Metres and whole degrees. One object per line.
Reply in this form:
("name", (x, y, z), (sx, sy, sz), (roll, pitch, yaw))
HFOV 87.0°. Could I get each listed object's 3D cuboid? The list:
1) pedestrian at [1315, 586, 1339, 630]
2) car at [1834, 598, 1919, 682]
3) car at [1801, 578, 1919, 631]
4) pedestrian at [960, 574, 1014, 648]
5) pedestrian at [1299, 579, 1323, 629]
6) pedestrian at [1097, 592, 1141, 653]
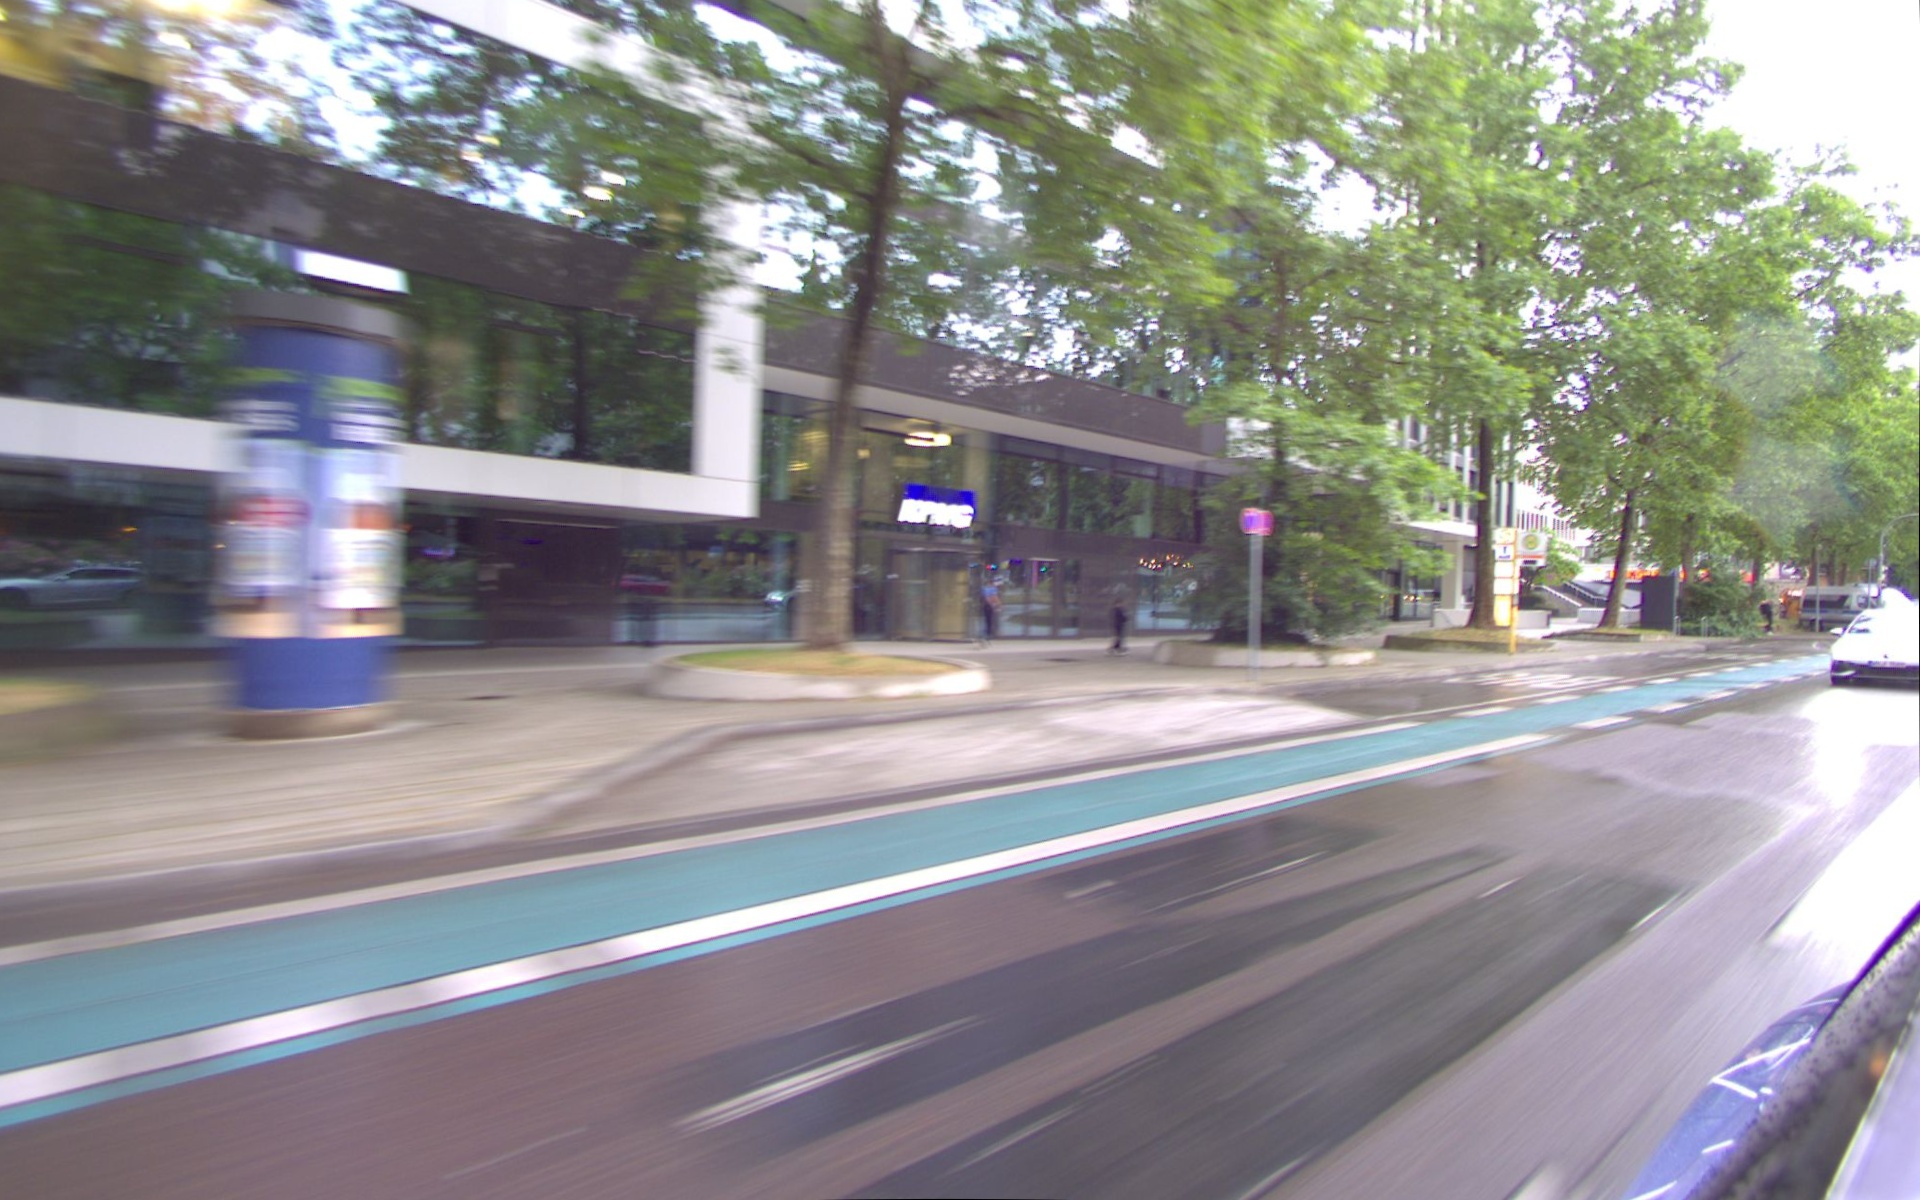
("pedestrian", (13.886, 0.298, 38.284), (0.707, 1.645, 0.527), (-1, 3, -41))
("car", (18.307, 0.708, 19.420), (3.727, 1.490, 1.794), (0, 0, -41))
("car", (49.683, 0.193, 55.025), (2.275, 2.714, 6.292), (0, 1, -5))
("pedestrian", (0.701, 0.280, 26.165), (1.069, 1.816, 0.788), (1, 2, -44))
("pedestrian", (13.505, 0.137, 38.919), (0.692, 1.881, 0.523), (-1, 3, -41))
("pedestrian", (4.110, 0.569, 26.138), (0.987, 1.524, 0.588), (1, 1, -41))
